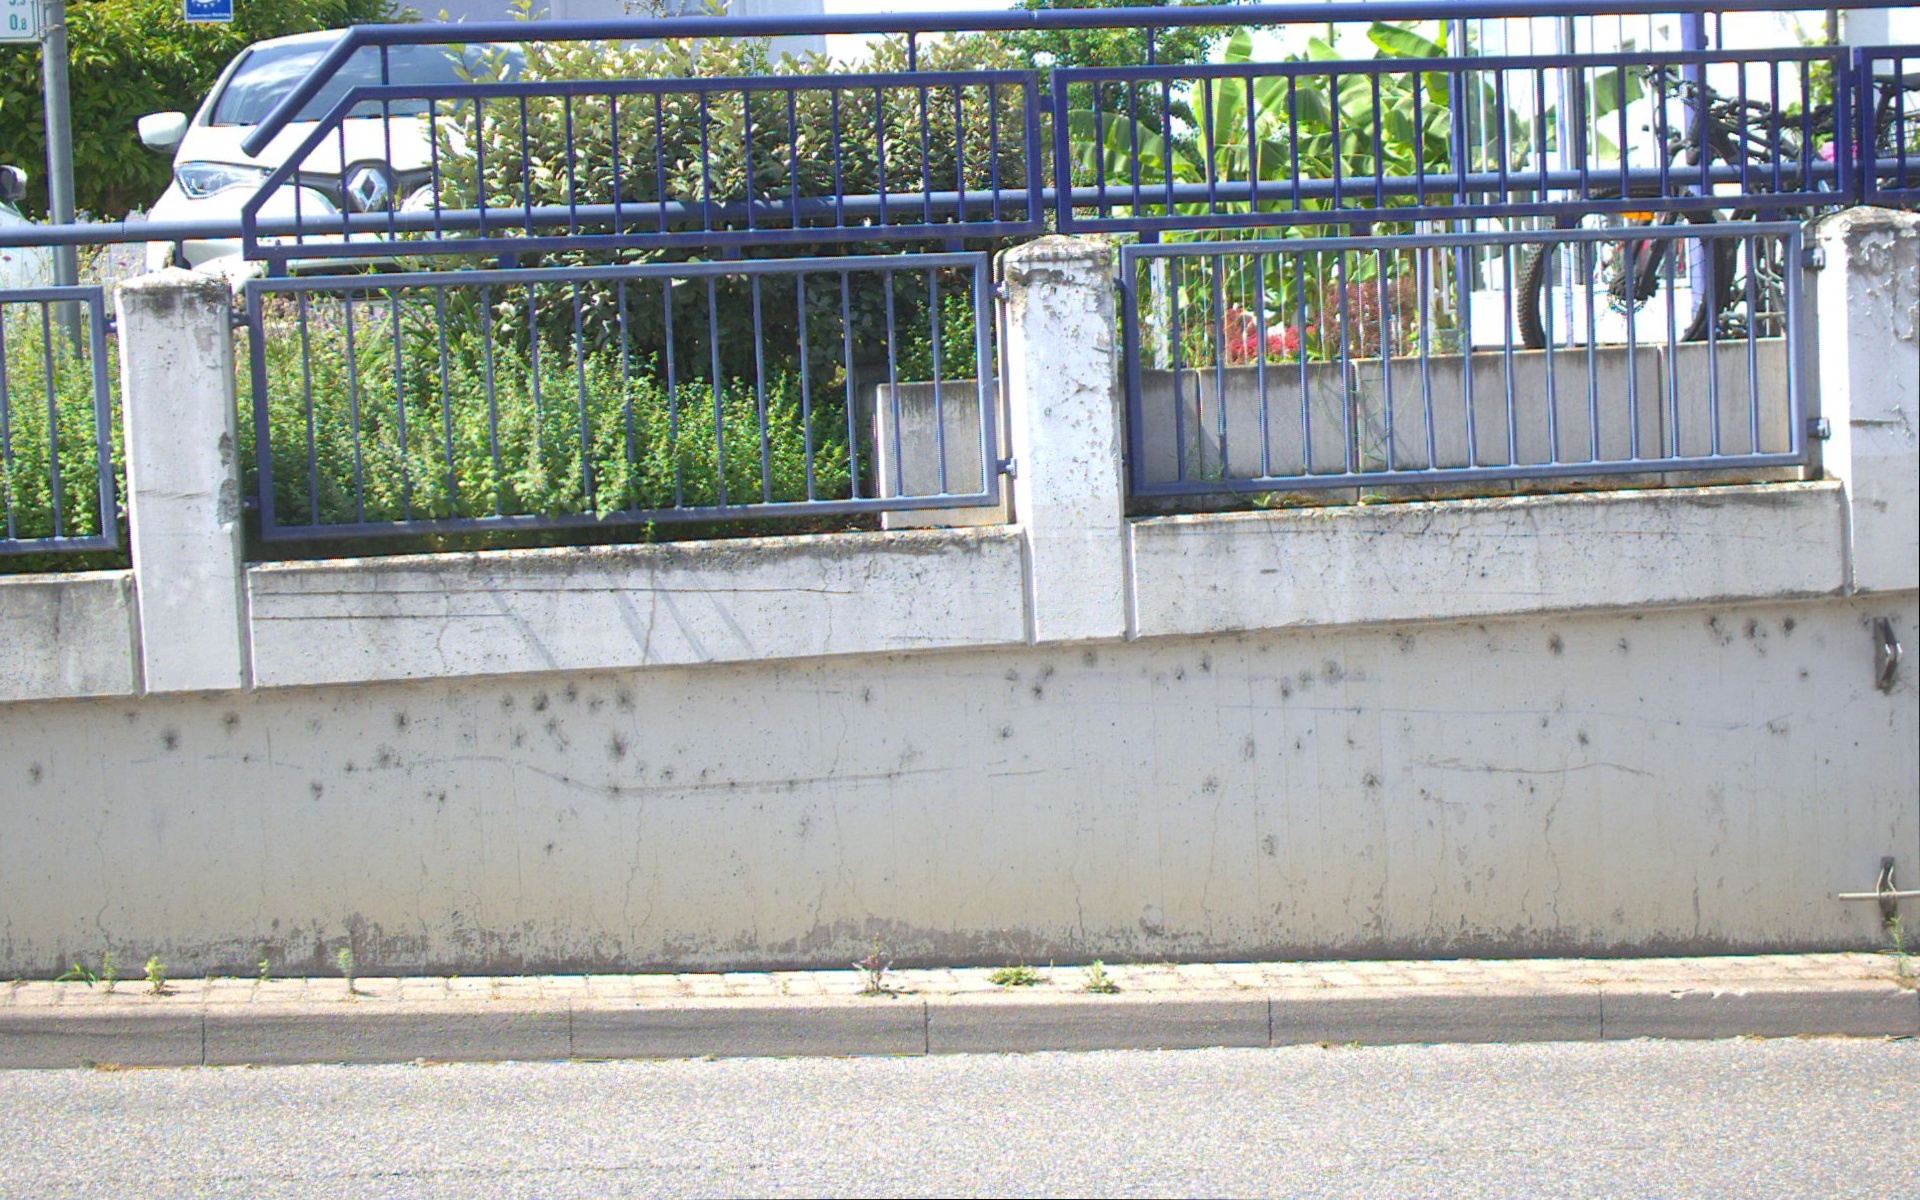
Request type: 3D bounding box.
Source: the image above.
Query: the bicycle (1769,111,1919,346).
[{"bbox_3d":[4.146,-1.674,15.773,0.372,0.991,1.966,-2,4,0],"label":"bicycle"}]

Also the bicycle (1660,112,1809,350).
[{"bbox_3d":[3.480,-1.635,15.539,0.455,0.991,1.888,-1,4,7],"label":"bicycle"}]

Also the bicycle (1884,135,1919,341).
[{"bbox_3d":[4.840,-1.731,16.271,0.372,0.991,1.966,-2,4,0],"label":"bicycle"}]

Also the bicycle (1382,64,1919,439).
[{"bbox_3d":[2.418,-1.112,10.916,2.114,1.122,0.333,-2,4,-10],"label":"bicycle"}]

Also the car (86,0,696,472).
[{"bbox_3d":[-2.077,-1.437,13.700,1.993,1.791,4.198,1,2,-4],"label":"car"}]

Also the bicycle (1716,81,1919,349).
[{"bbox_3d":[3.629,-1.525,13.897,0.332,0.991,2.077,-2,4,-10],"label":"bicycle"}]

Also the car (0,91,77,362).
[{"bbox_3d":[-4.720,-1.525,13.496,1.824,1.016,3.460,1,2,-4],"label":"car"}]
